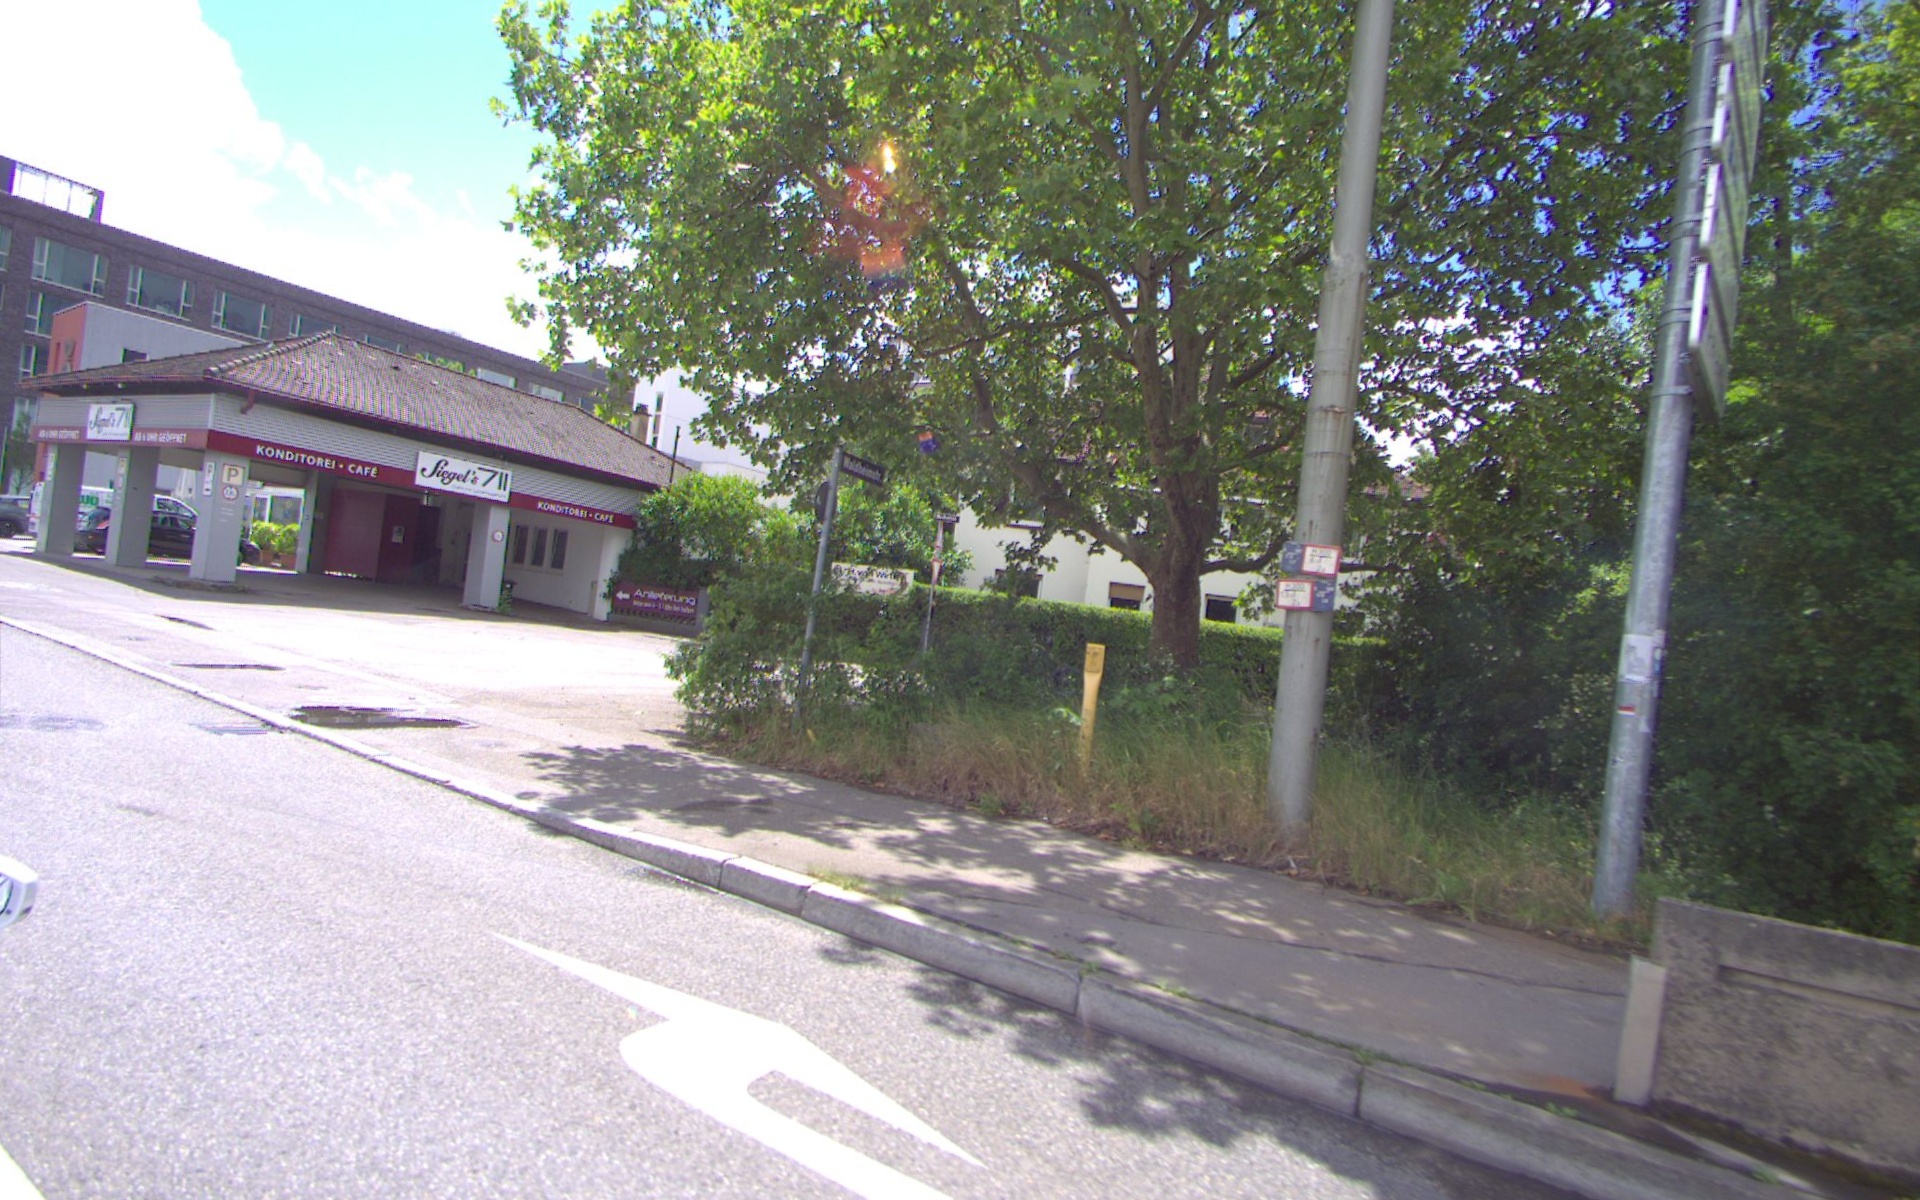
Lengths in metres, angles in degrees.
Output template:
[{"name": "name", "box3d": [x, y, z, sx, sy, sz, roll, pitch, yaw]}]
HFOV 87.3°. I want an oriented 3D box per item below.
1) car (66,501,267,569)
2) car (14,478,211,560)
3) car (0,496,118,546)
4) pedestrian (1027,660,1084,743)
[{"name": "car", "box3d": [-23.471, -1.883, 29.915, 1.816, 1.532, 4.302, 5, 0, 32]}, {"name": "car", "box3d": [-26.201, -2.473, 31.241, 1.996, 1.961, 4.232, 6, 1, 33]}, {"name": "car", "box3d": [-32.651, -2.850, 35.790, 1.691, 1.460, 3.758, 6, 2, 33]}, {"name": "pedestrian", "box3d": [1.557, 1.653, 16.414, 0.564, 1.262, 0.511, 7, 2, -40]}]
